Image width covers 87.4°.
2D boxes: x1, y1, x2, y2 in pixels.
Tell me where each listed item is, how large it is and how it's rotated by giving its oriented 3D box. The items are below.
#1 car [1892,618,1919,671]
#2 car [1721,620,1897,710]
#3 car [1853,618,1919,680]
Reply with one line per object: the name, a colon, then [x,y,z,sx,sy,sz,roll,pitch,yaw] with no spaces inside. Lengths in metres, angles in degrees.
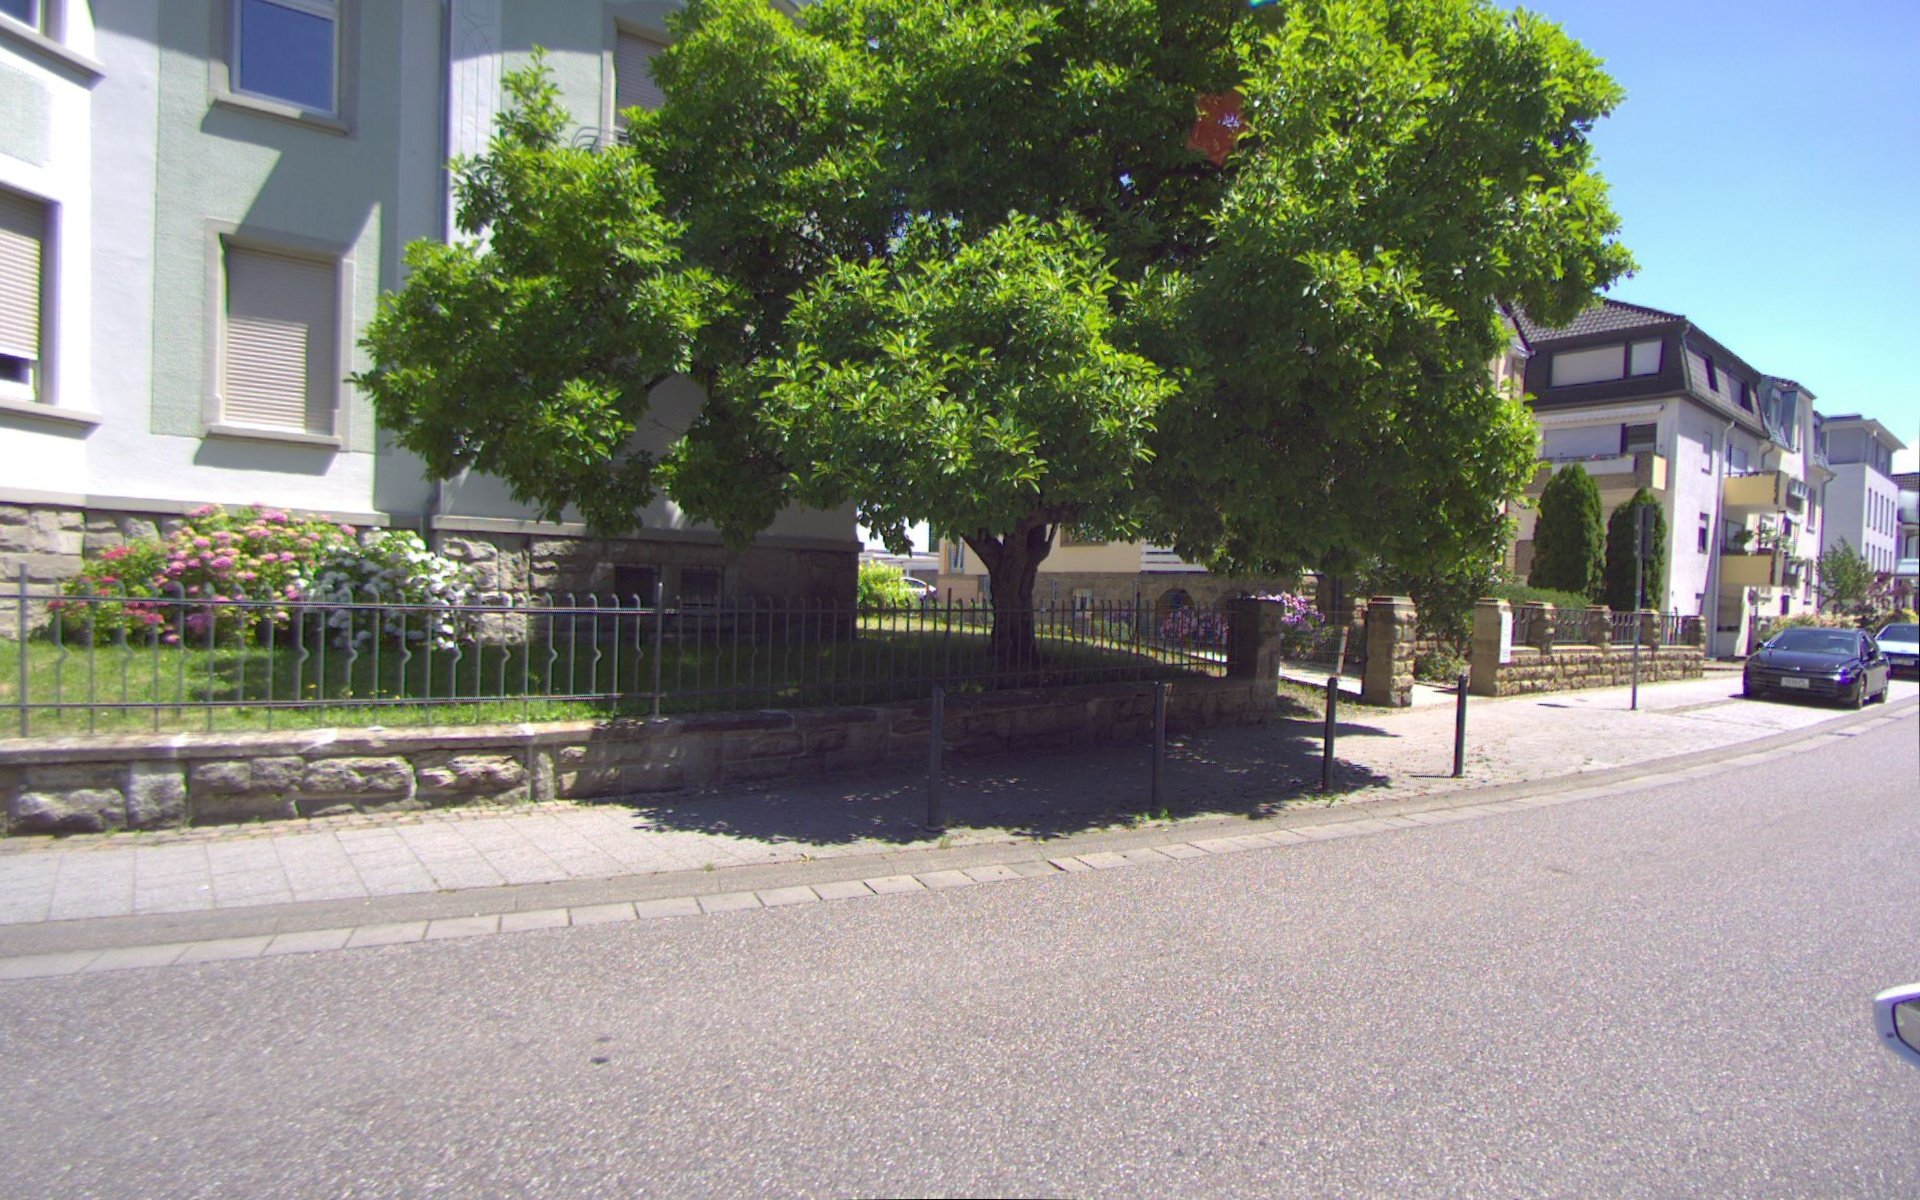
car: [32.585,1.507,33.386,4.534,1.641,1.710,1,3,-40]
car: [17.247,1.224,20.319,4.621,1.456,1.909,1,3,-40]
car: [28.209,1.427,29.770,4.621,1.594,1.909,1,3,-40]
